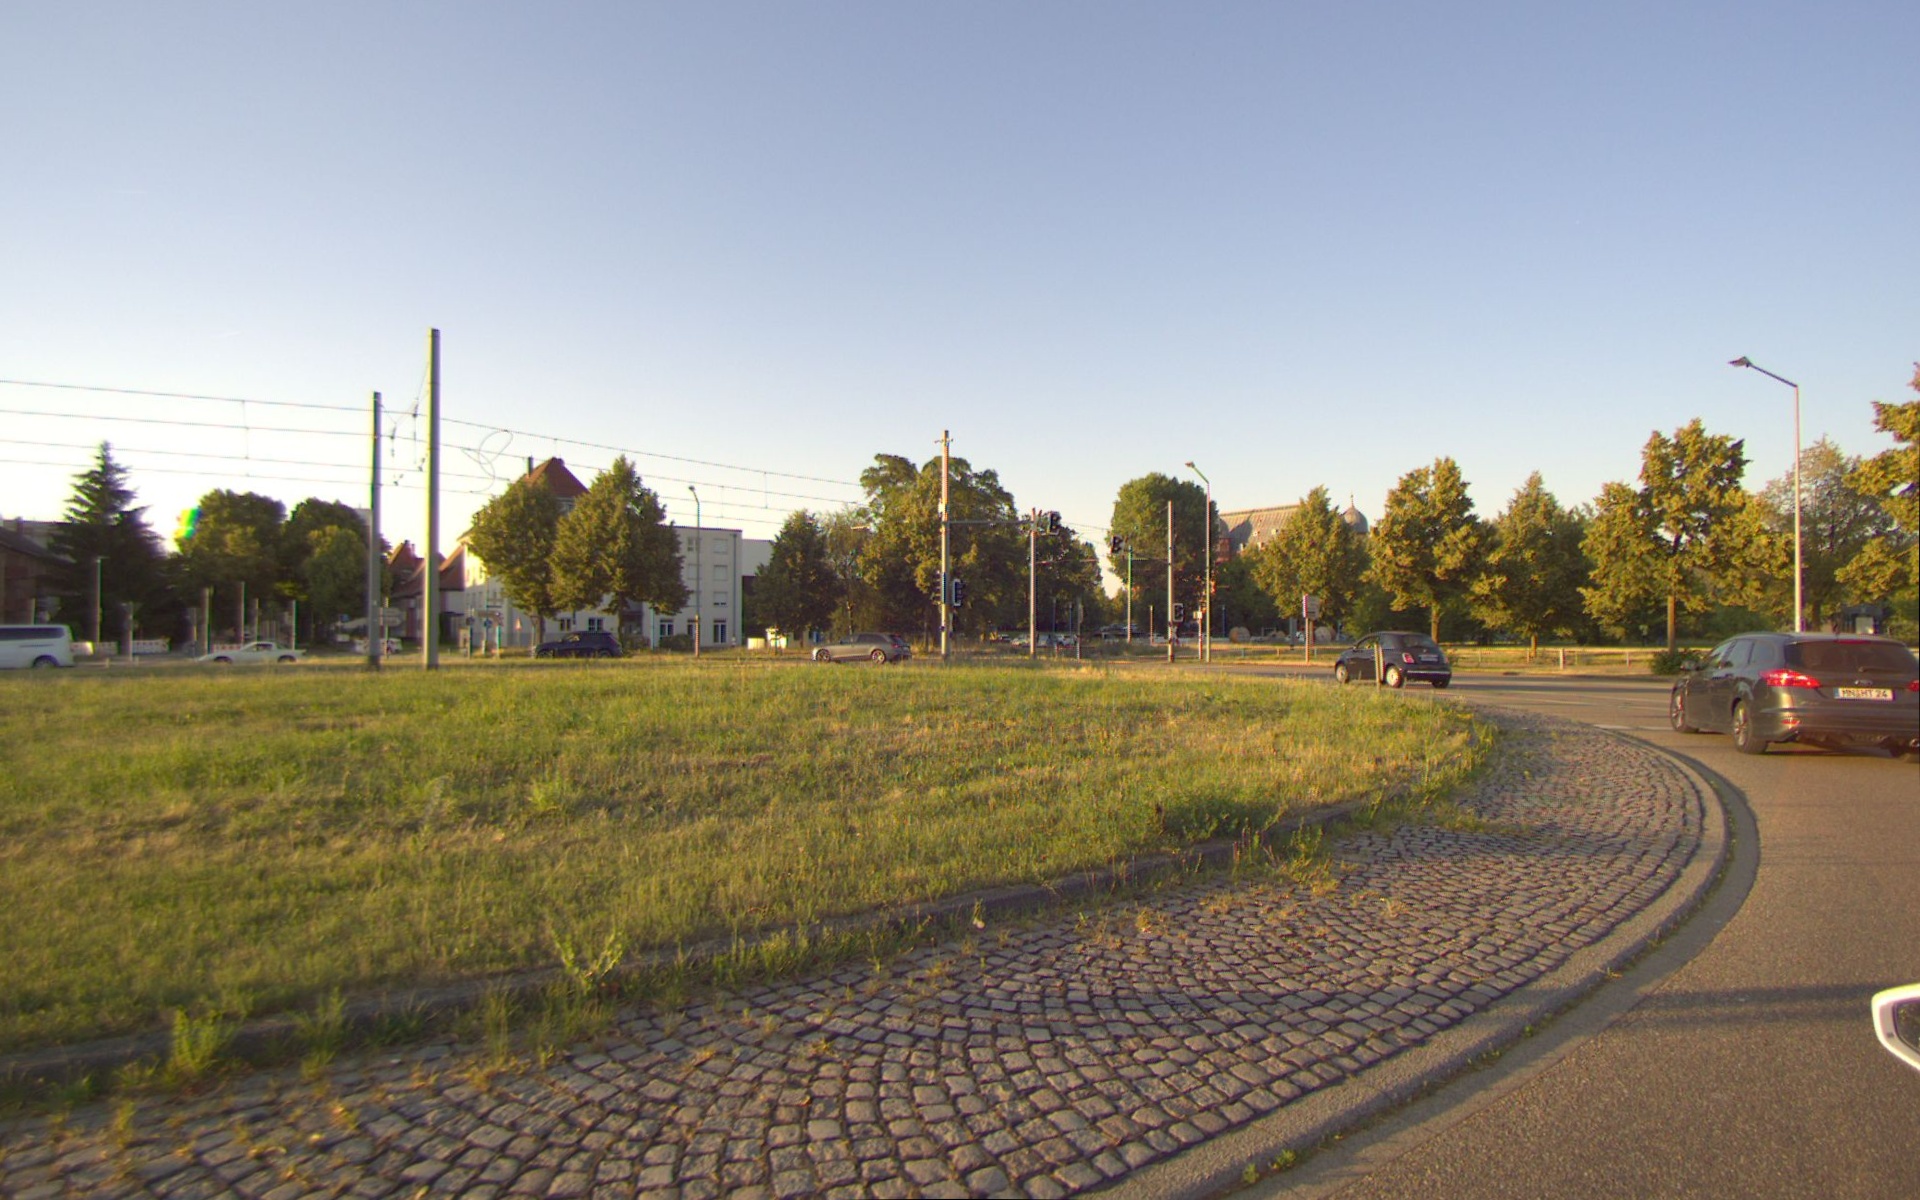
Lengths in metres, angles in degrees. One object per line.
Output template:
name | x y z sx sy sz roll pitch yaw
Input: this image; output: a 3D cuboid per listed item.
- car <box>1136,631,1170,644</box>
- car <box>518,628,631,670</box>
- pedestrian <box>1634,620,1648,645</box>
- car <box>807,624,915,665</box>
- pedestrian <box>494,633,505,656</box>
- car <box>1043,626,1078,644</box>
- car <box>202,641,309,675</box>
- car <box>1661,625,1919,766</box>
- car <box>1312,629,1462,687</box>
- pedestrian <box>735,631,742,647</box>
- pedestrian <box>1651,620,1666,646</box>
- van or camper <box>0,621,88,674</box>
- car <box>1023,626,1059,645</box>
car | 24.218 4.737 125.981 1.982 1.571 3.958 1 -2 -37
car | -17.230 2.168 45.080 4.516 1.771 1.748 0 -1 -12
pedestrian | 45.767 2.195 67.528 0.569 1.648 0.533 0 -1 10
car | -4.434 1.979 45.039 4.506 1.771 1.752 -1 -1 18
pedestrian | -33.867 3.287 73.880 0.590 1.643 0.560 0 -1 -40
car | 11.701 4.049 116.851 1.981 2.126 3.959 1 -2 -36
car | -30.594 2.498 43.716 3.743 1.272 1.564 0 0 -35
car | 10.624 1.083 12.902 1.717 1.486 4.134 -1 -1 22
car | 11.720 1.548 27.893 1.721 1.465 4.125 0 -1 -13
pedestrian | -19.544 3.471 88.607 0.544 1.392 0.354 1 -1 -41
pedestrian | 45.975 2.174 66.118 0.608 1.648 0.530 0 -1 2
van or camper | -38.412 1.923 40.036 1.885 2.036 5.280 -2 -1 38
car | 9.244 4.047 114.992 1.981 2.126 3.959 1 -2 -36
